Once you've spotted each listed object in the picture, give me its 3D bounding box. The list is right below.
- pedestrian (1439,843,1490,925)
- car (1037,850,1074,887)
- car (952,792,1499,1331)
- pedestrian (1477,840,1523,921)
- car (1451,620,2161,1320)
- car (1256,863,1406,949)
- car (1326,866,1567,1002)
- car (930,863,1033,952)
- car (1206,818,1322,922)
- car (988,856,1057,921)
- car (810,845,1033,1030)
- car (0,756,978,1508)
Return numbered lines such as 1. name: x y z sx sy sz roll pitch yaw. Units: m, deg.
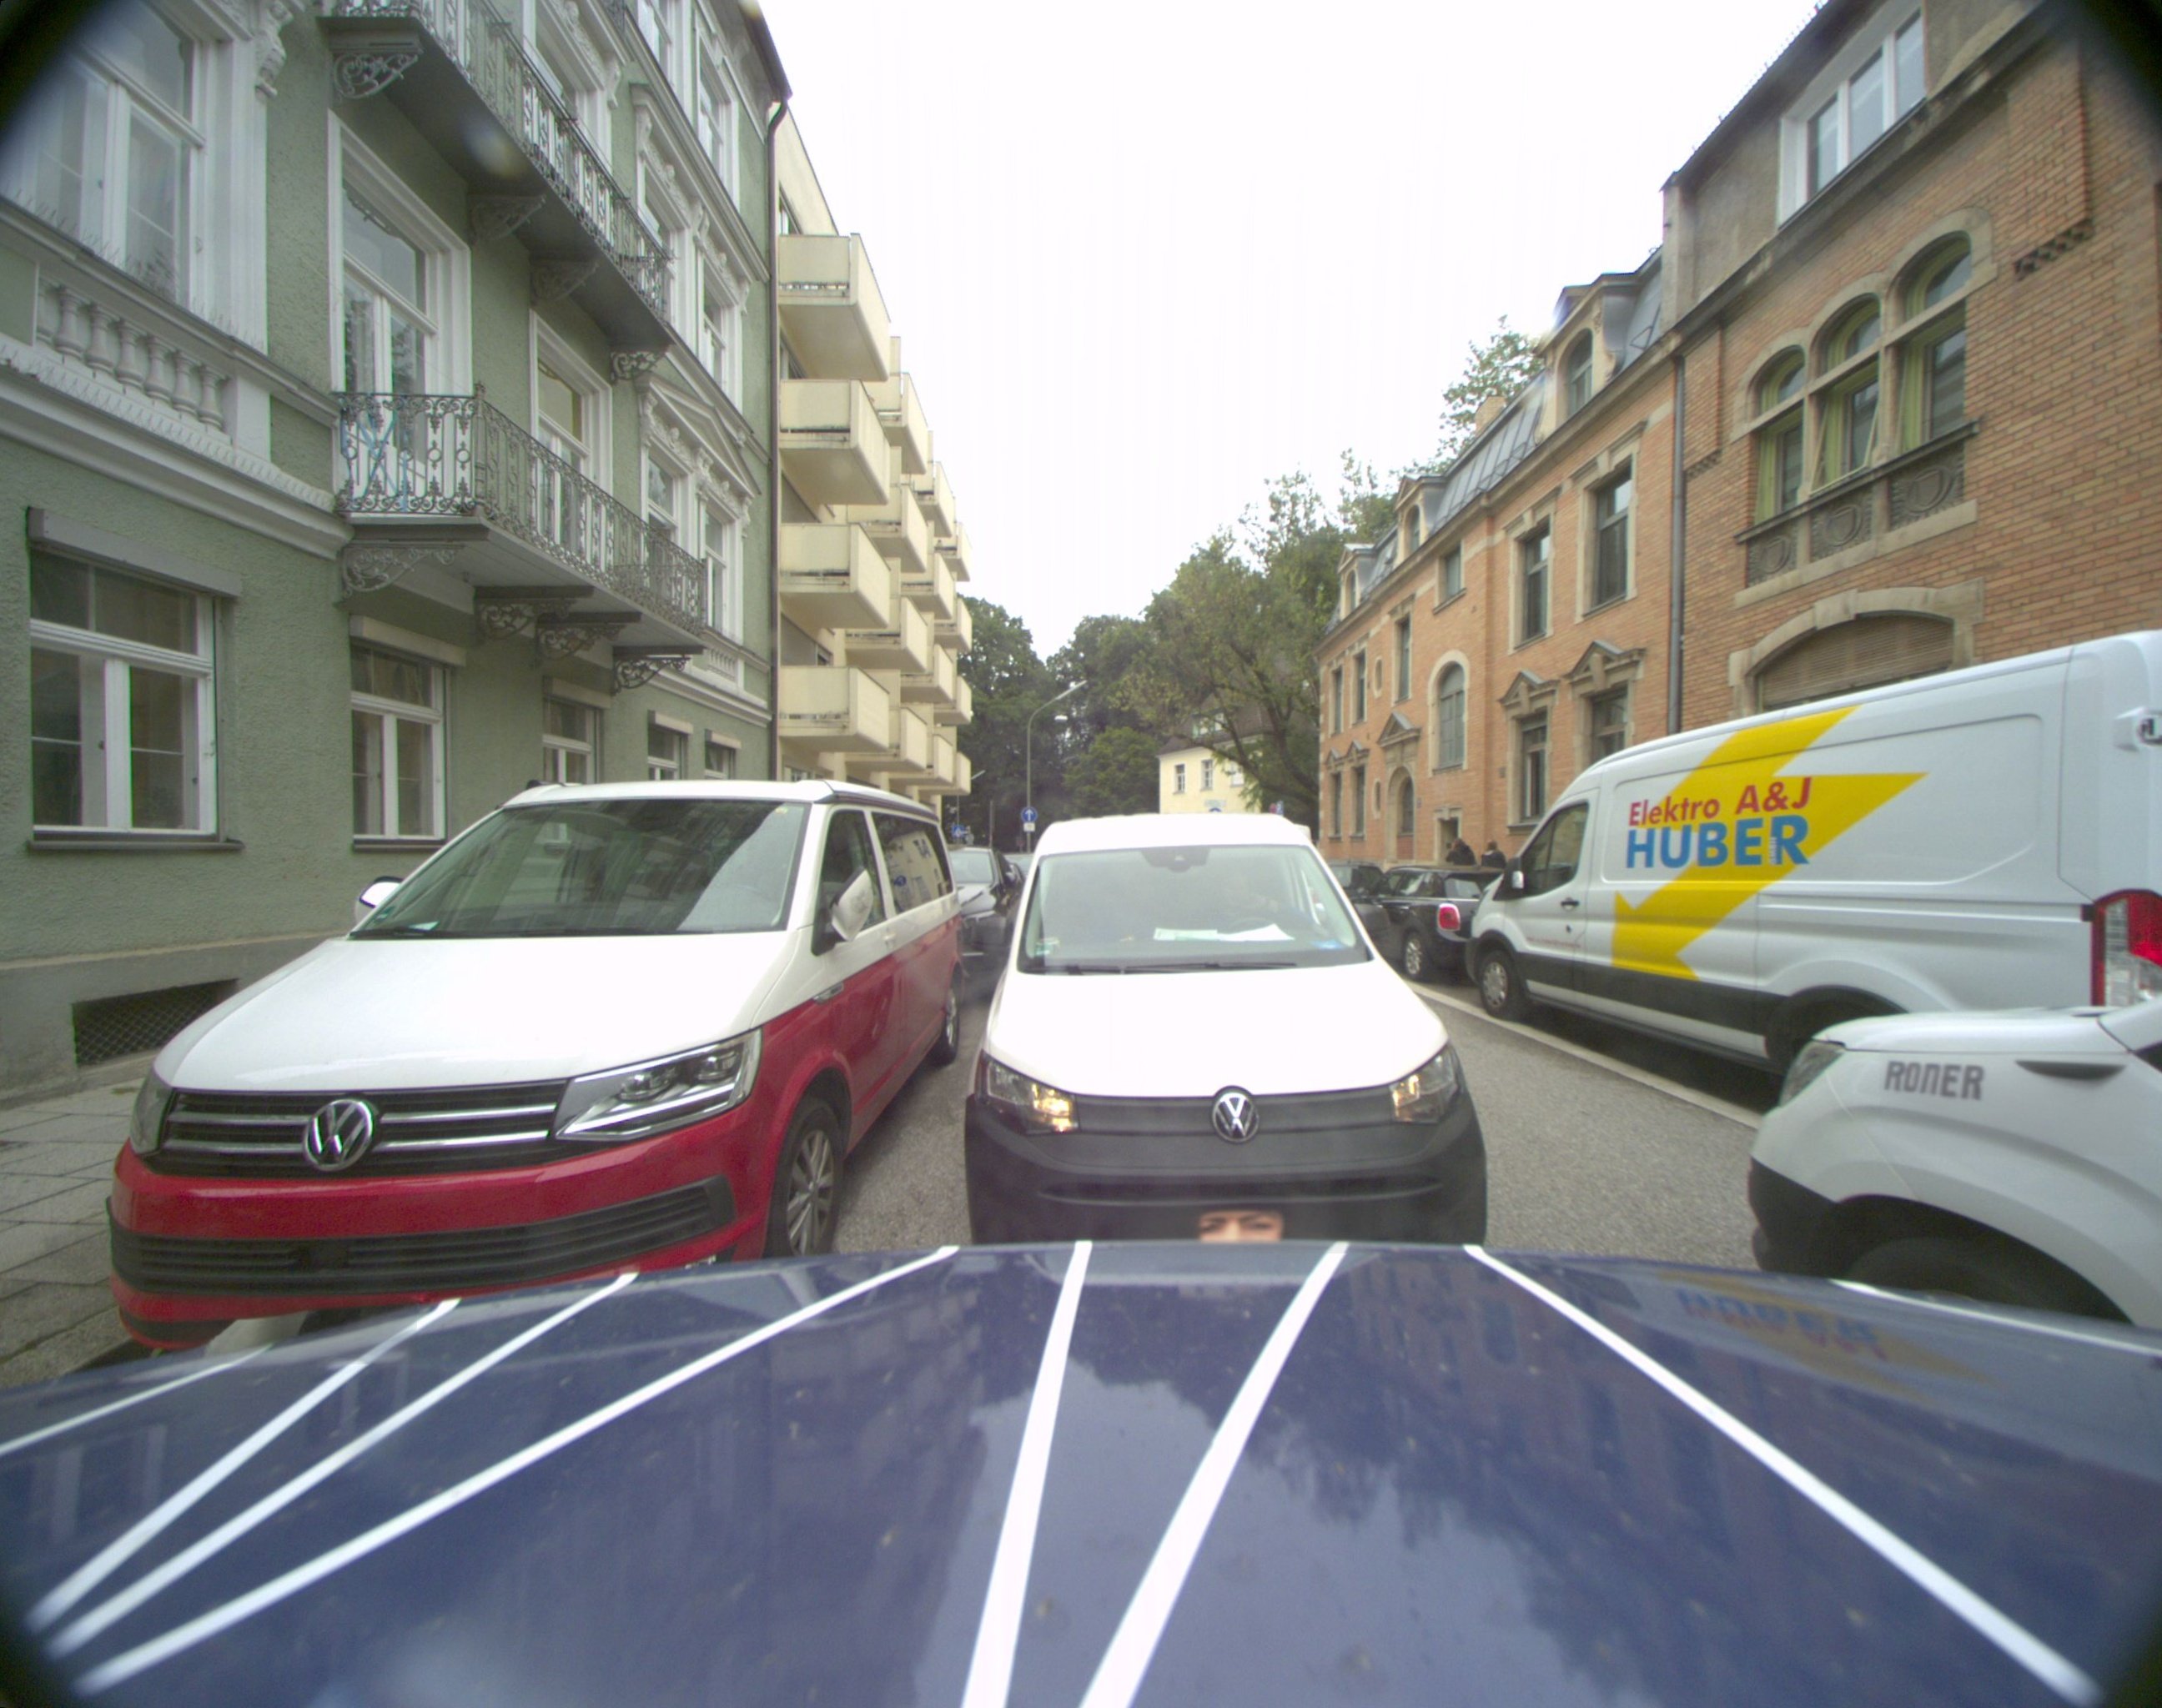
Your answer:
1. pedestrian: 7.780 0.596 15.435 0.634 1.623 0.675 2 1 1
2. car: -1.239 0.671 38.306 1.766 1.740 3.999 1 0 -1
3. car: 0.514 0.685 4.559 1.776 1.761 4.000 2 1 1
4. pedestrian: 8.586 0.537 15.580 0.634 1.623 0.467 2 1 1
5. car: 4.803 0.407 5.125 1.986 2.463 5.222 1 1 0
6. car: 4.897 0.951 15.499 1.694 1.434 3.984 2 0 0
7. car: 4.715 0.941 10.391 1.527 1.434 3.540 2 0 0
8. car: -1.902 0.991 15.624 1.551 1.488 3.977 -2 0 0
9. car: 4.947 0.415 21.236 2.118 2.525 4.421 3 0 1
10. car: -1.543 0.879 21.198 1.551 1.562 3.977 -2 0 0
11. car: -1.708 0.827 9.712 1.832 1.747 4.553 -2 0 0
12. car: -1.899 0.724 4.256 1.858 1.885 4.592 -2 0 1
